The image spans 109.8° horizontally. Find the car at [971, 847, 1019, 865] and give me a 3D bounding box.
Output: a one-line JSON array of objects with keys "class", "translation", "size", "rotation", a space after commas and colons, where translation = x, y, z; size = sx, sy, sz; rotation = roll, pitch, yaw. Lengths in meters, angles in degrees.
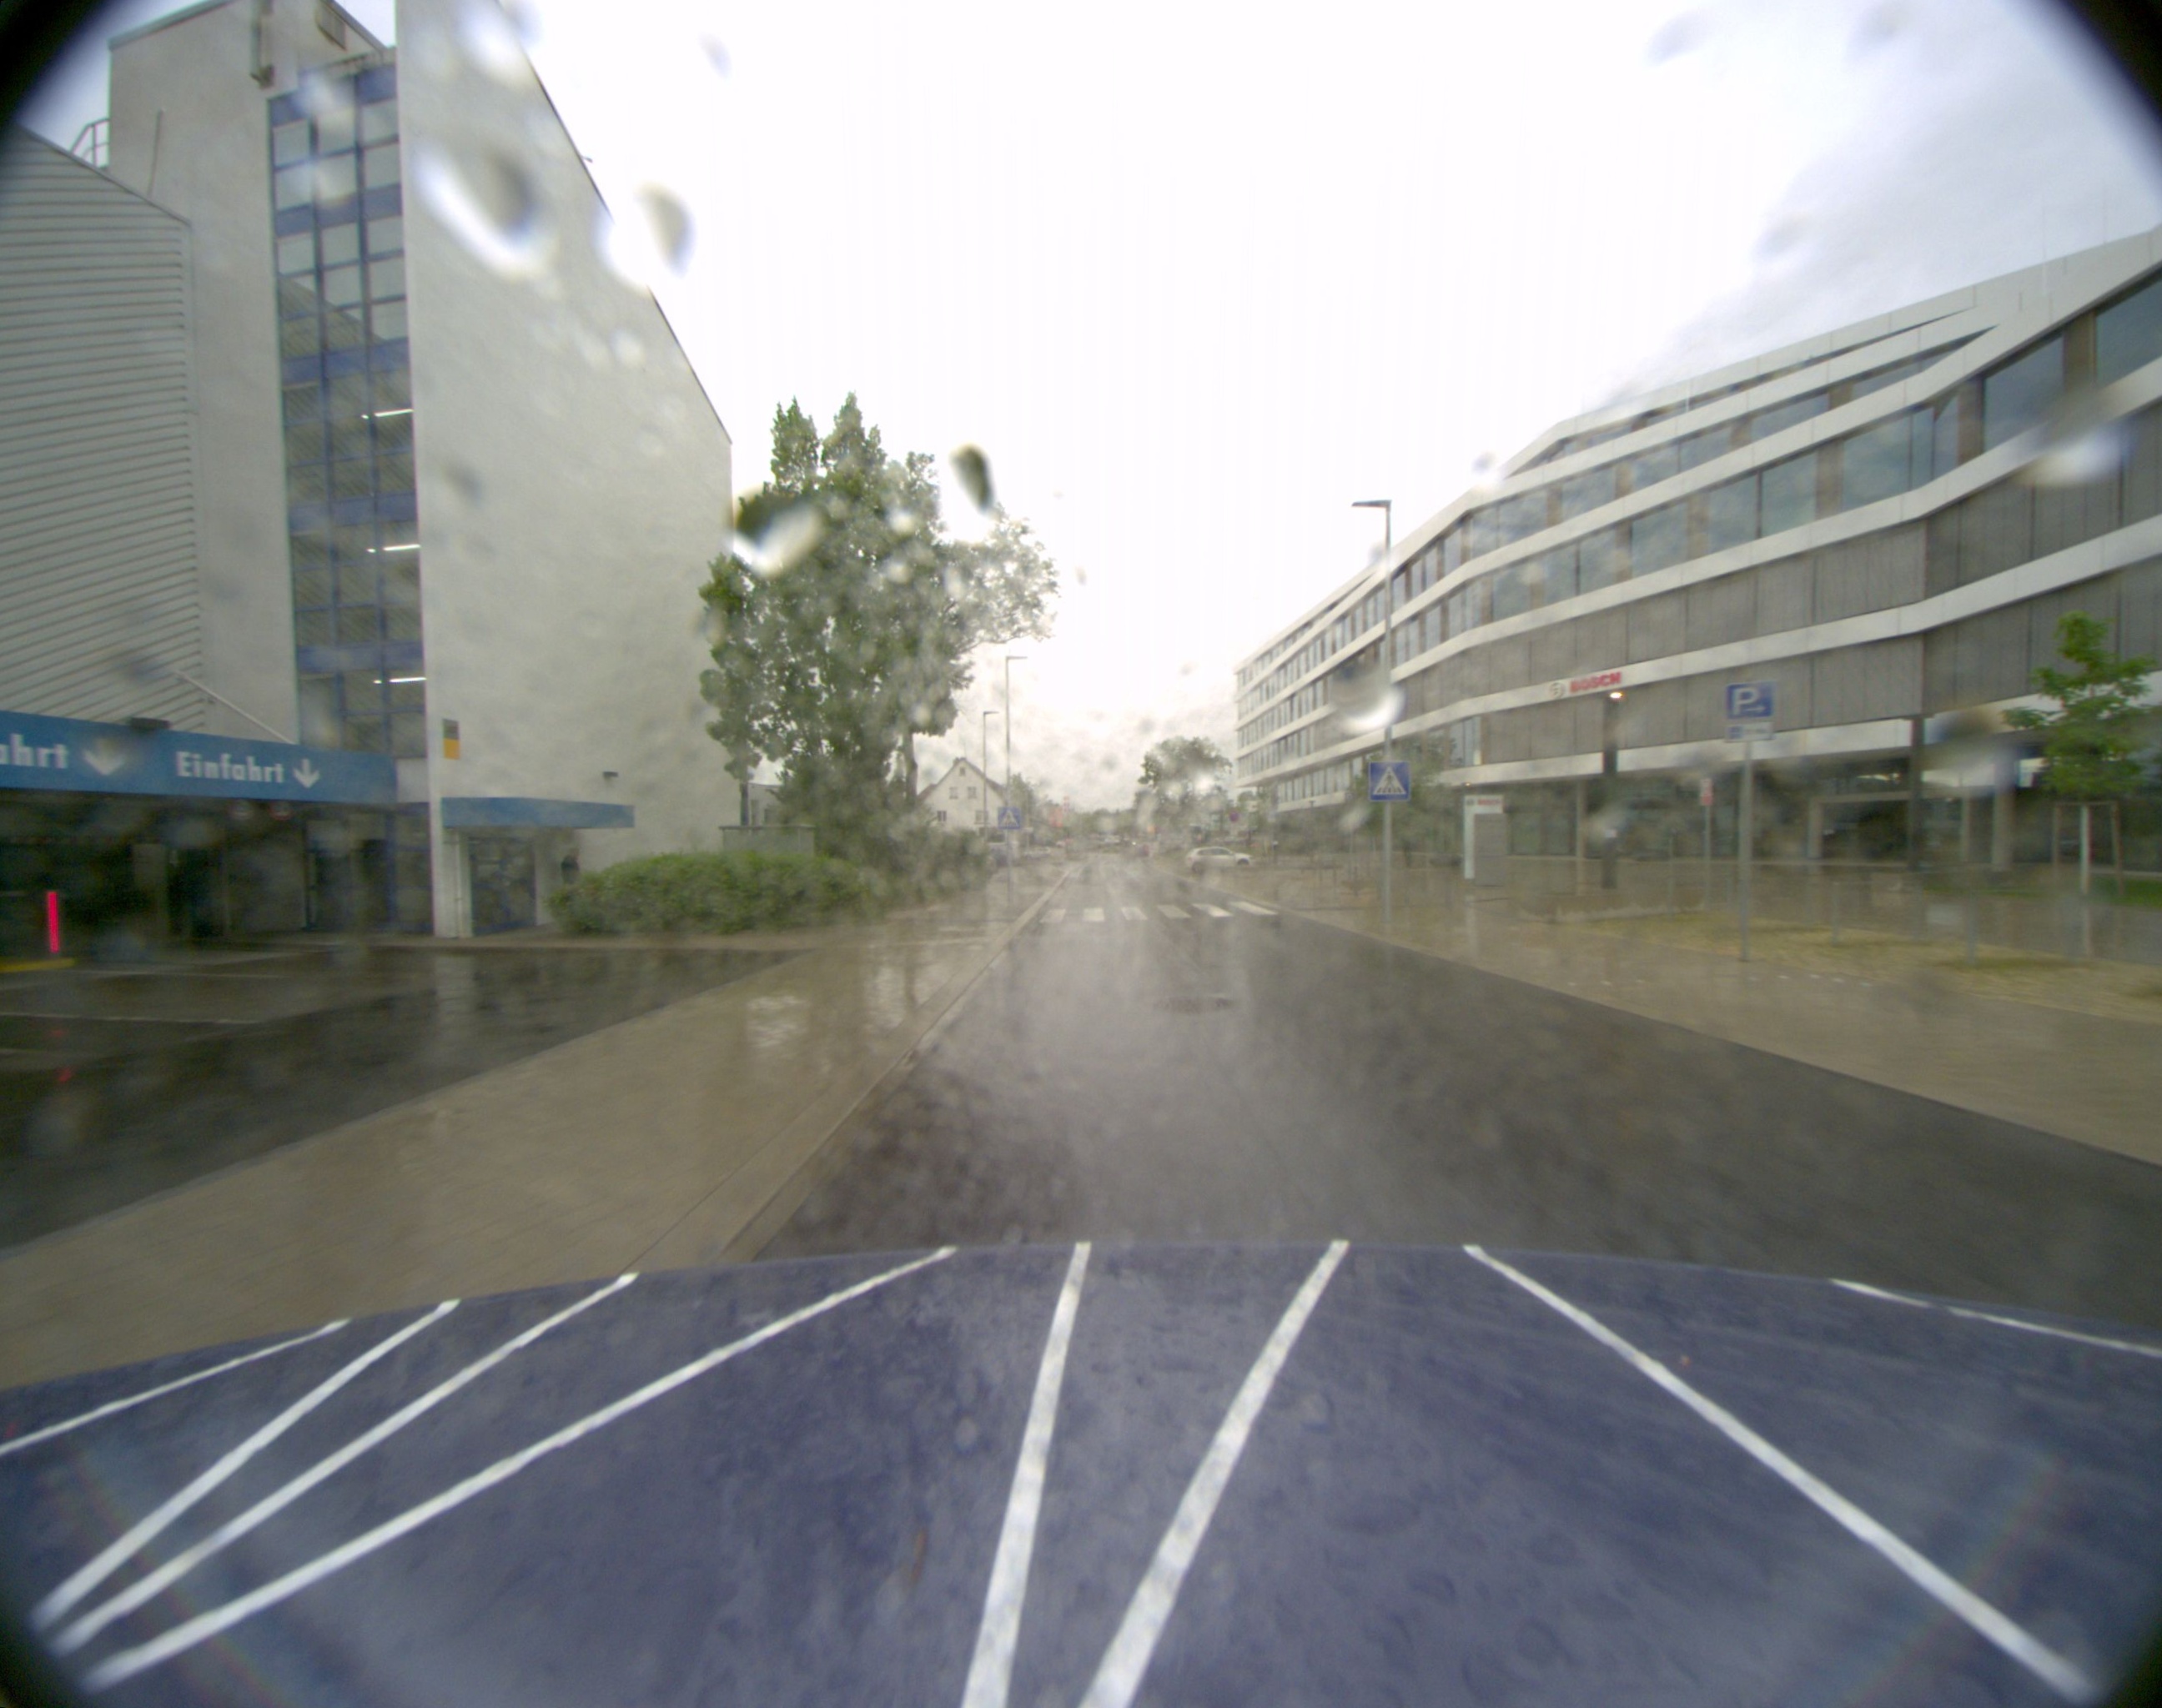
[{"class": "car", "translation": [-7.406, 0.133, 65.713], "size": [3.998, 1.444, 1.868], "rotation": [-1, 0, -3]}]

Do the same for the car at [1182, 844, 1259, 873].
[{"class": "car", "translation": [8.106, 0.254, 44.487], "size": [4.166, 1.411, 2.001], "rotation": [-3, 0, 5]}]

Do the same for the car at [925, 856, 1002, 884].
[{"class": "car", "translation": [-6.381, 0.849, 41.713], "size": [3.998, 1.444, 1.868], "rotation": [-1, 0, -3]}]
